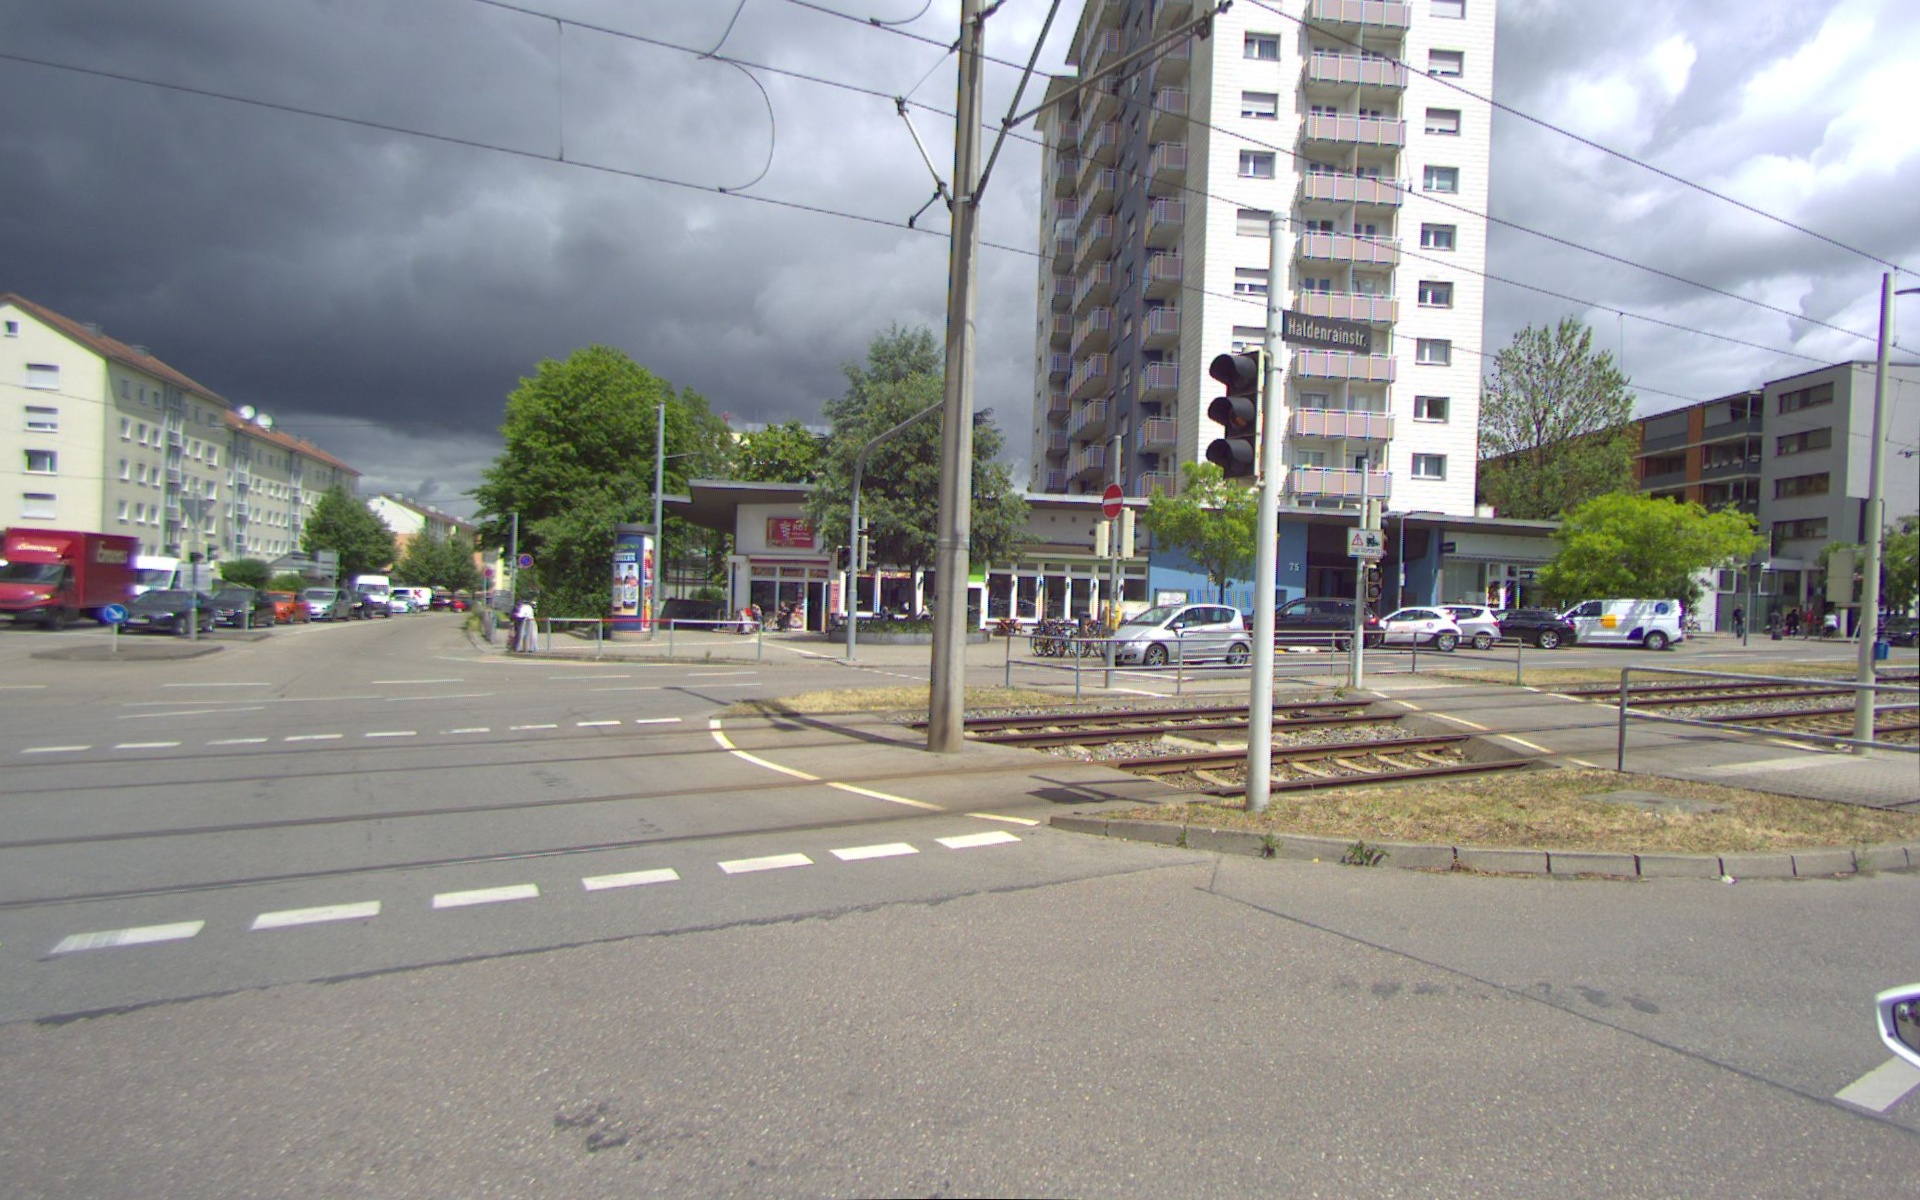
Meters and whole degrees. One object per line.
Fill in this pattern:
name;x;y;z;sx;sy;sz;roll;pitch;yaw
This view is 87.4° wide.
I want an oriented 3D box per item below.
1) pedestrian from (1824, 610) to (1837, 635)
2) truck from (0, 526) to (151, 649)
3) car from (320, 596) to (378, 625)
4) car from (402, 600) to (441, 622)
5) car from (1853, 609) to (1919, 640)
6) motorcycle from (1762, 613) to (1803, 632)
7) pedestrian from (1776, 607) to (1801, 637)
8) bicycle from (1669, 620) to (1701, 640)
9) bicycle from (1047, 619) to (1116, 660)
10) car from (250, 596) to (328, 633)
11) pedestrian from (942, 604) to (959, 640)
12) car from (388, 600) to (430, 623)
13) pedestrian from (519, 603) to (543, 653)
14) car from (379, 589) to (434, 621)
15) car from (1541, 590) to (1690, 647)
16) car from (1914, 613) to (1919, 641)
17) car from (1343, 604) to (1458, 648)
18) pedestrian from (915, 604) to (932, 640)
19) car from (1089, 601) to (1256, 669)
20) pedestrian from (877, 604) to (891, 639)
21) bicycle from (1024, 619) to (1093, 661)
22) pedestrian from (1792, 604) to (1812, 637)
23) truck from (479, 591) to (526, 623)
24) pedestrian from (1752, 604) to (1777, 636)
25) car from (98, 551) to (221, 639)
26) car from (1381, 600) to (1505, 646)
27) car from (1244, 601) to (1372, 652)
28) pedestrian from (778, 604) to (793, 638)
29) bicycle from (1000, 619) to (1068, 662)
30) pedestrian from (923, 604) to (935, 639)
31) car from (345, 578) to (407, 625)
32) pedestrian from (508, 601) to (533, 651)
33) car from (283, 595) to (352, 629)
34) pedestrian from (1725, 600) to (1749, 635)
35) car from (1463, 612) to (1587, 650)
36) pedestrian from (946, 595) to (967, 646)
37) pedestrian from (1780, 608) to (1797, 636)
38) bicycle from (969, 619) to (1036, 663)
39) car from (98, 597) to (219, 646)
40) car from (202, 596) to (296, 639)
pedestrian;52.295;1.333;60.350;0.490;1.479;0.559;0;0;34
truck;-30.186;-0.357;33.808;2.509;3.723;7.065;0;0;-21
car;-34.572;0.595;56.972;1.969;1.623;3.983;0;0;-19
car;-41.379;0.862;77.247;1.969;1.623;3.983;0;0;-19
car;46.557;1.222;49.935;4.323;1.447;1.728;1;0;-27
motorcycle;51.810;1.403;63.270;0.733;1.194;1.882;0;0;-31
pedestrian;43.925;1.164;53.264;0.957;1.554;0.601;0;0;-17
bicycle;45.823;1.893;63.485;0.656;1.228;1.974;0;0;3
bicycle;3.352;1.071;27.923;0.696;1.080;2.418;0;0;-27
car;-30.550;0.654;45.872;1.969;1.623;3.983;0;0;-19
pedestrian;-0.400;0.934;42.773;0.564;1.492;0.523;0;0;-25
car;-39.800;0.832;72.690;1.969;1.623;3.983;0;0;-19
pedestrian;-12.849;0.824;30.089;0.516;1.492;0.519;0;0;-2
car;-45.102;0.416;81.935;3.765;2.510;1.751;0;0;-23
car;26.089;0.729;40.183;4.668;2.185;1.906;0;0;20
car;53.196;1.428;53.656;4.338;1.495;1.750;0;0;-24
car;15.723;0.909;35.998;3.693;1.516;1.747;0;0;22
pedestrian;-1.555;0.928;42.260;0.564;1.492;0.523;0;0;-25
car;5.223;0.821;24.742;3.703;1.553;1.813;0;0;-25
pedestrian;-3.317;0.936;43.666;0.515;1.492;0.572;0;0;4
bicycle;2.662;1.067;27.540;0.696;1.080;2.418;0;0;-27
pedestrian;45.795;1.113;54.631;0.833;1.816;0.608;0;0;-30
truck;-38.674;0.593;85.123;2.904;2.583;7.004;0;0;-19
pedestrian;43.451;1.075;54.222;0.604;1.672;0.839;0;1;-22
car;-32.890;-0.163;41.522;1.969;3.343;6.278;0;0;-19
car;18.046;0.843;37.748;3.920;1.654;1.907;0;0;16
car;11.553;0.853;33.635;3.919;1.613;1.933;0;0;15
pedestrian;-7.647;0.932;44.116;0.515;1.492;0.572;0;0;4
bicycle;1.964;1.064;27.206;0.696;1.080;2.418;0;0;-27
pedestrian;-1.352;0.940;43.785;0.515;1.492;0.572;0;0;1
car;-36.668;0.133;63.210;2.398;2.825;4.876;0;0;-19
pedestrian;-13.412;0.788;30.647;0.516;1.492;0.572;0;0;-2
car;-32.259;0.584;50.556;1.969;1.623;3.983;0;0;-19
pedestrian;41.376;0.936;53.504;0.827;1.816;0.873;0;0;24
car;21.916;1.168;39.129;3.921;1.402;1.906;0;0;20
pedestrian;-0.116;0.679;32.963;0.594;1.665;0.414;0;0;-31
pedestrian;46.818;1.239;56.778;0.654;1.594;0.686;0;0;34
bicycle;1.106;1.059;26.707;0.696;1.080;2.418;0;0;-27
car;-26.313;0.684;33.155;1.970;1.514;3.981;0;0;-21
car;-28.224;0.674;40.002;1.969;1.623;3.983;0;0;-19
